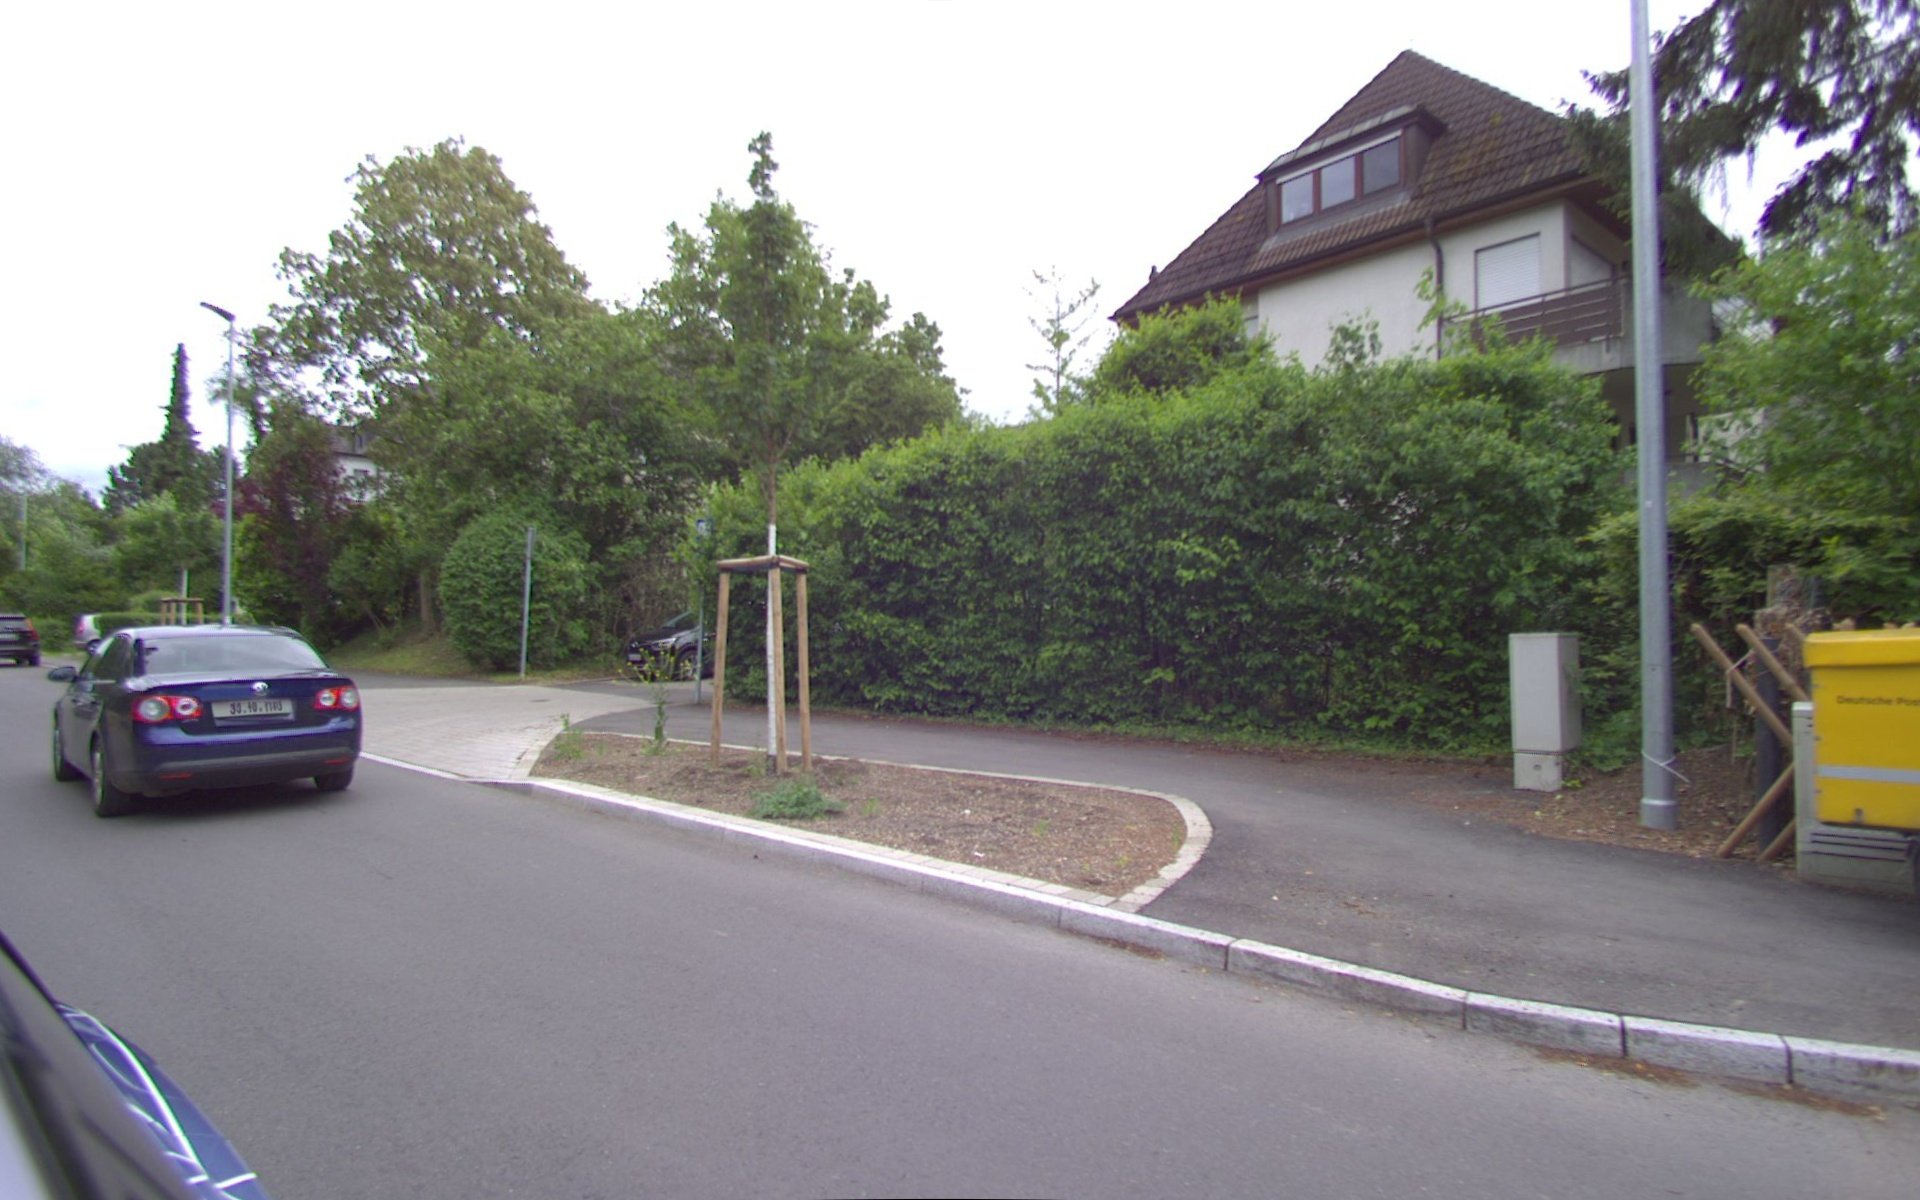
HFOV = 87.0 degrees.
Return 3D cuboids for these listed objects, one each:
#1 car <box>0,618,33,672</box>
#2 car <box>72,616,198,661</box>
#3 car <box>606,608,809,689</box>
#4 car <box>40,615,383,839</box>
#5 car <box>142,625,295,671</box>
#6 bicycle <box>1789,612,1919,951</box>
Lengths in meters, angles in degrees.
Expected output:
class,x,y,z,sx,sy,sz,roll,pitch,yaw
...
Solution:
class,x,y,z,sx,sy,sz,roll,pitch,yaw
car,-32.207,1.481,33.515,4.195,1.693,1.897,-1,-1,43
car,-31.896,1.469,39.186,3.719,1.602,1.643,0,-1,-43
car,-5.431,0.991,22.131,1.683,1.569,4.075,-2,-1,42
car,-6.723,0.909,8.904,4.195,1.486,1.688,-1,-1,43
car,-23.766,1.502,32.508,1.641,1.324,3.724,-2,-1,43
bicycle,4.660,0.658,3.511,2.718,1.239,1.140,-1,-1,41
